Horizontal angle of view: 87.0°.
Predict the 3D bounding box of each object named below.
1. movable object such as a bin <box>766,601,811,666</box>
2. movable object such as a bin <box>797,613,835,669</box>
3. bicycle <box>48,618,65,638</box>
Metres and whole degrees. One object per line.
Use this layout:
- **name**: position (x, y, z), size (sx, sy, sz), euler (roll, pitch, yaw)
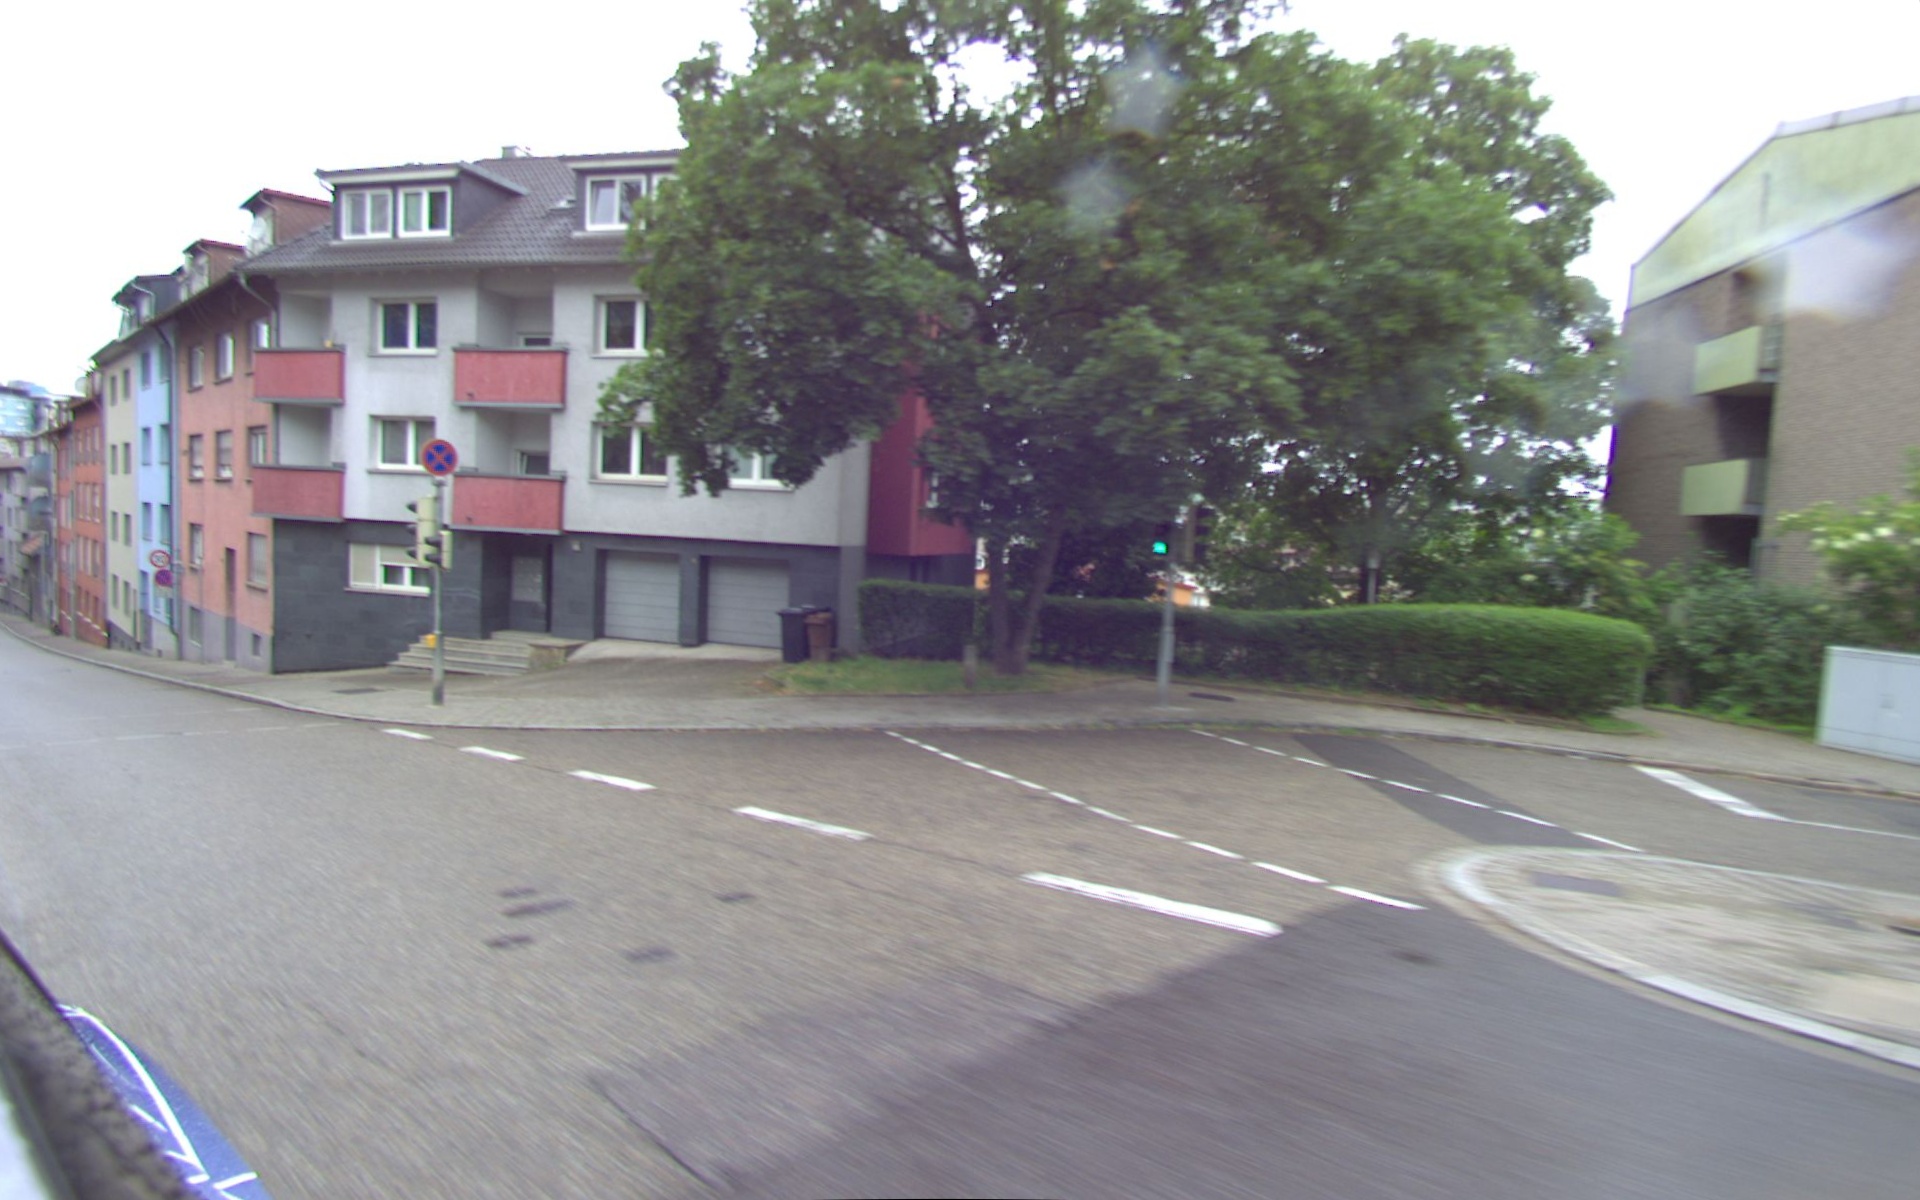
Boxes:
- **movable object such as a bin**: position (-3.328, 0.643, 19.654), size (0.683, 1.208, 0.558), euler (0, 2, 18)
- **movable object such as a bin**: position (-2.754, 0.773, 19.375), size (0.496, 1.023, 0.626), euler (0, 2, 18)
- **bicycle**: position (-54.483, 1.700, 61.014), size (2.040, 1.125, 0.565), euler (0, 3, 44)
